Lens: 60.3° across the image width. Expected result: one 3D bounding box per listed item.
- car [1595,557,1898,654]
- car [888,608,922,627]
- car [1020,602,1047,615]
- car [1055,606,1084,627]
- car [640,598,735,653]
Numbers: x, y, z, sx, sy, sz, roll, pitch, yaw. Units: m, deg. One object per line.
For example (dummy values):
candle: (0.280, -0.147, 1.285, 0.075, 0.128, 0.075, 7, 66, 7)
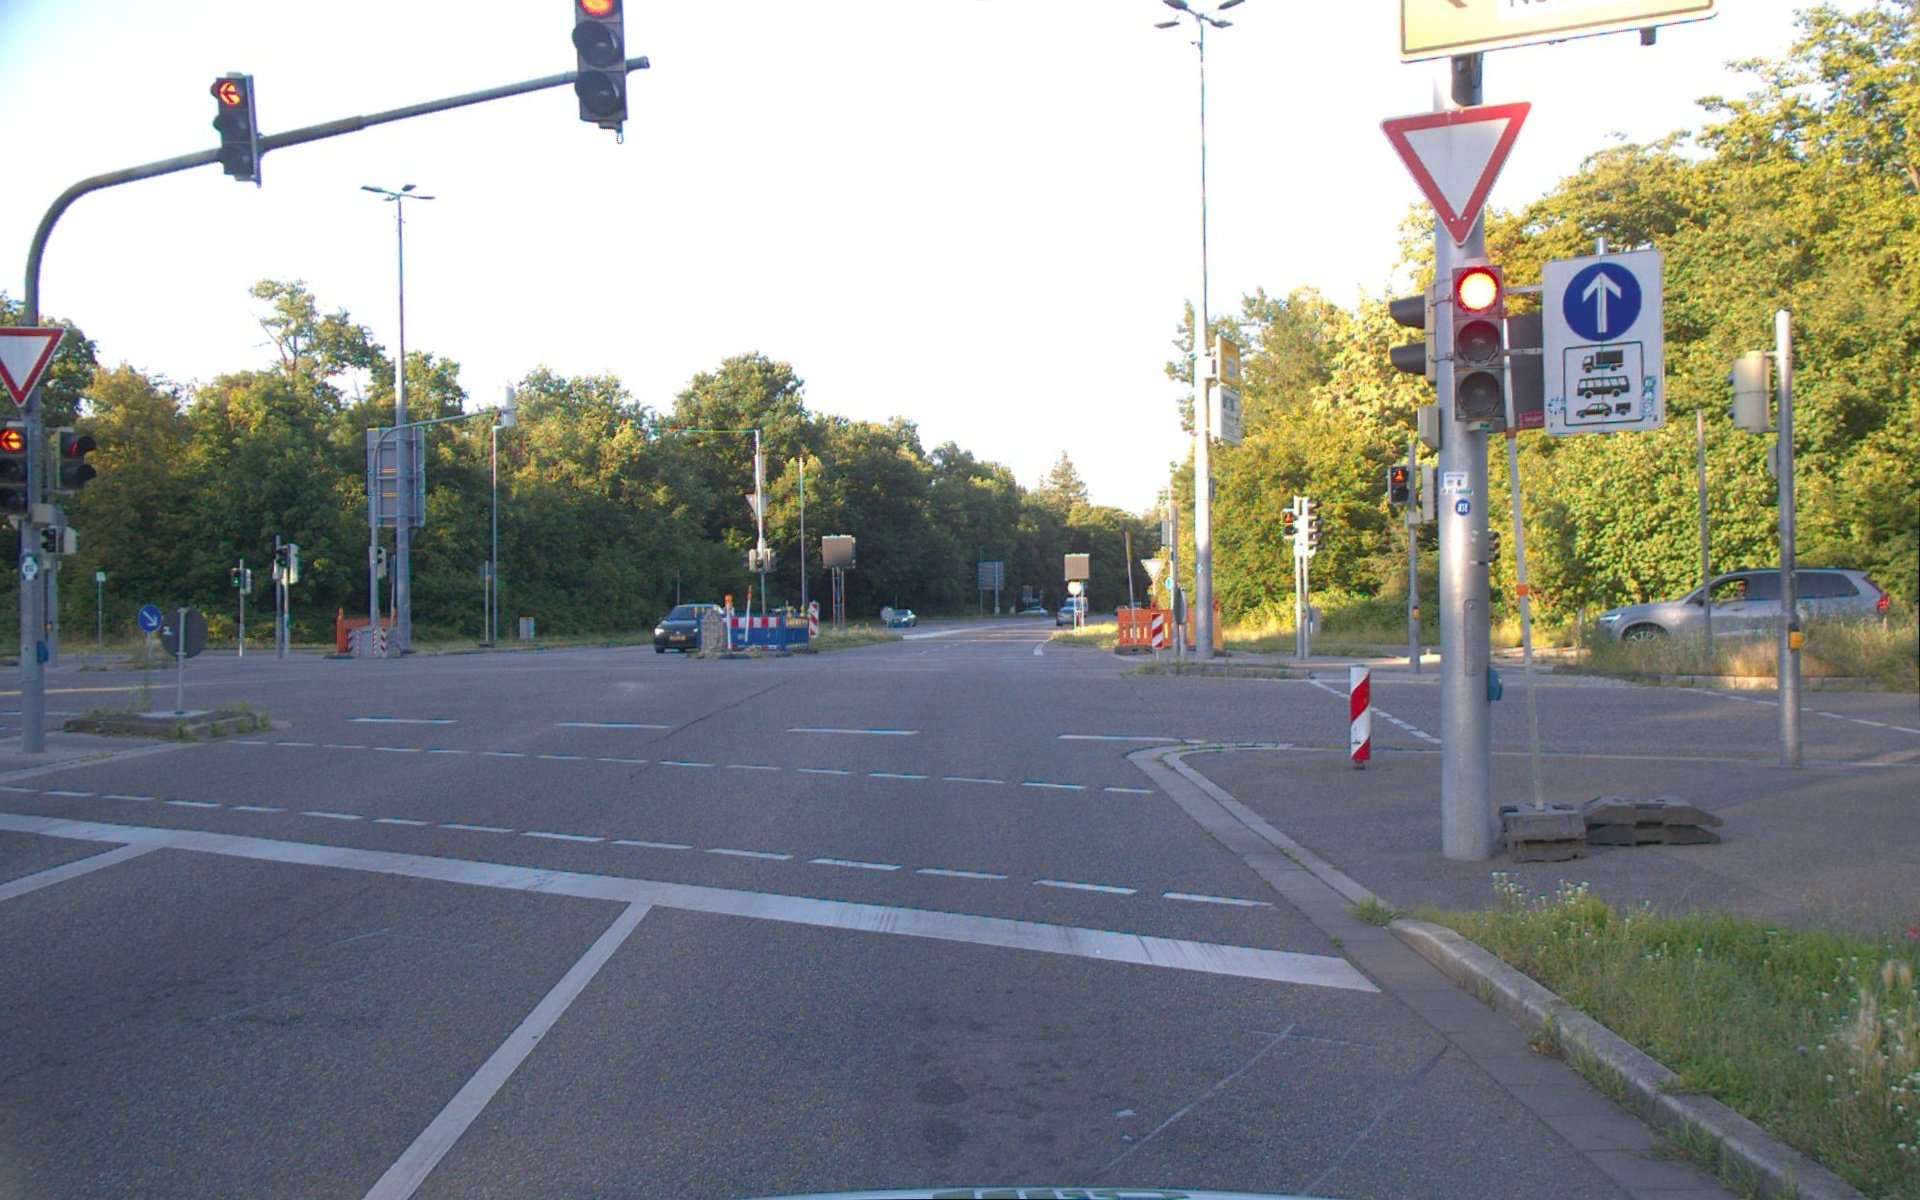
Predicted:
car: (13.901, 0.114, 29.565, 4.716, 1.626, 2.000, -1, 0, 21)
car: (-4.404, 1.437, 133.045, 1.951, 1.445, 4.003, -1, 0, 9)
car: (10.761, 1.246, 243.052, 3.904, 1.755, 1.846, 1, -1, 3)
car: (8.981, 1.326, 135.662, 1.951, 1.646, 4.004, -1, 0, 10)
car: (-8.283, 0.741, 50.713, 1.952, 1.556, 4.679, -1, 0, 2)
